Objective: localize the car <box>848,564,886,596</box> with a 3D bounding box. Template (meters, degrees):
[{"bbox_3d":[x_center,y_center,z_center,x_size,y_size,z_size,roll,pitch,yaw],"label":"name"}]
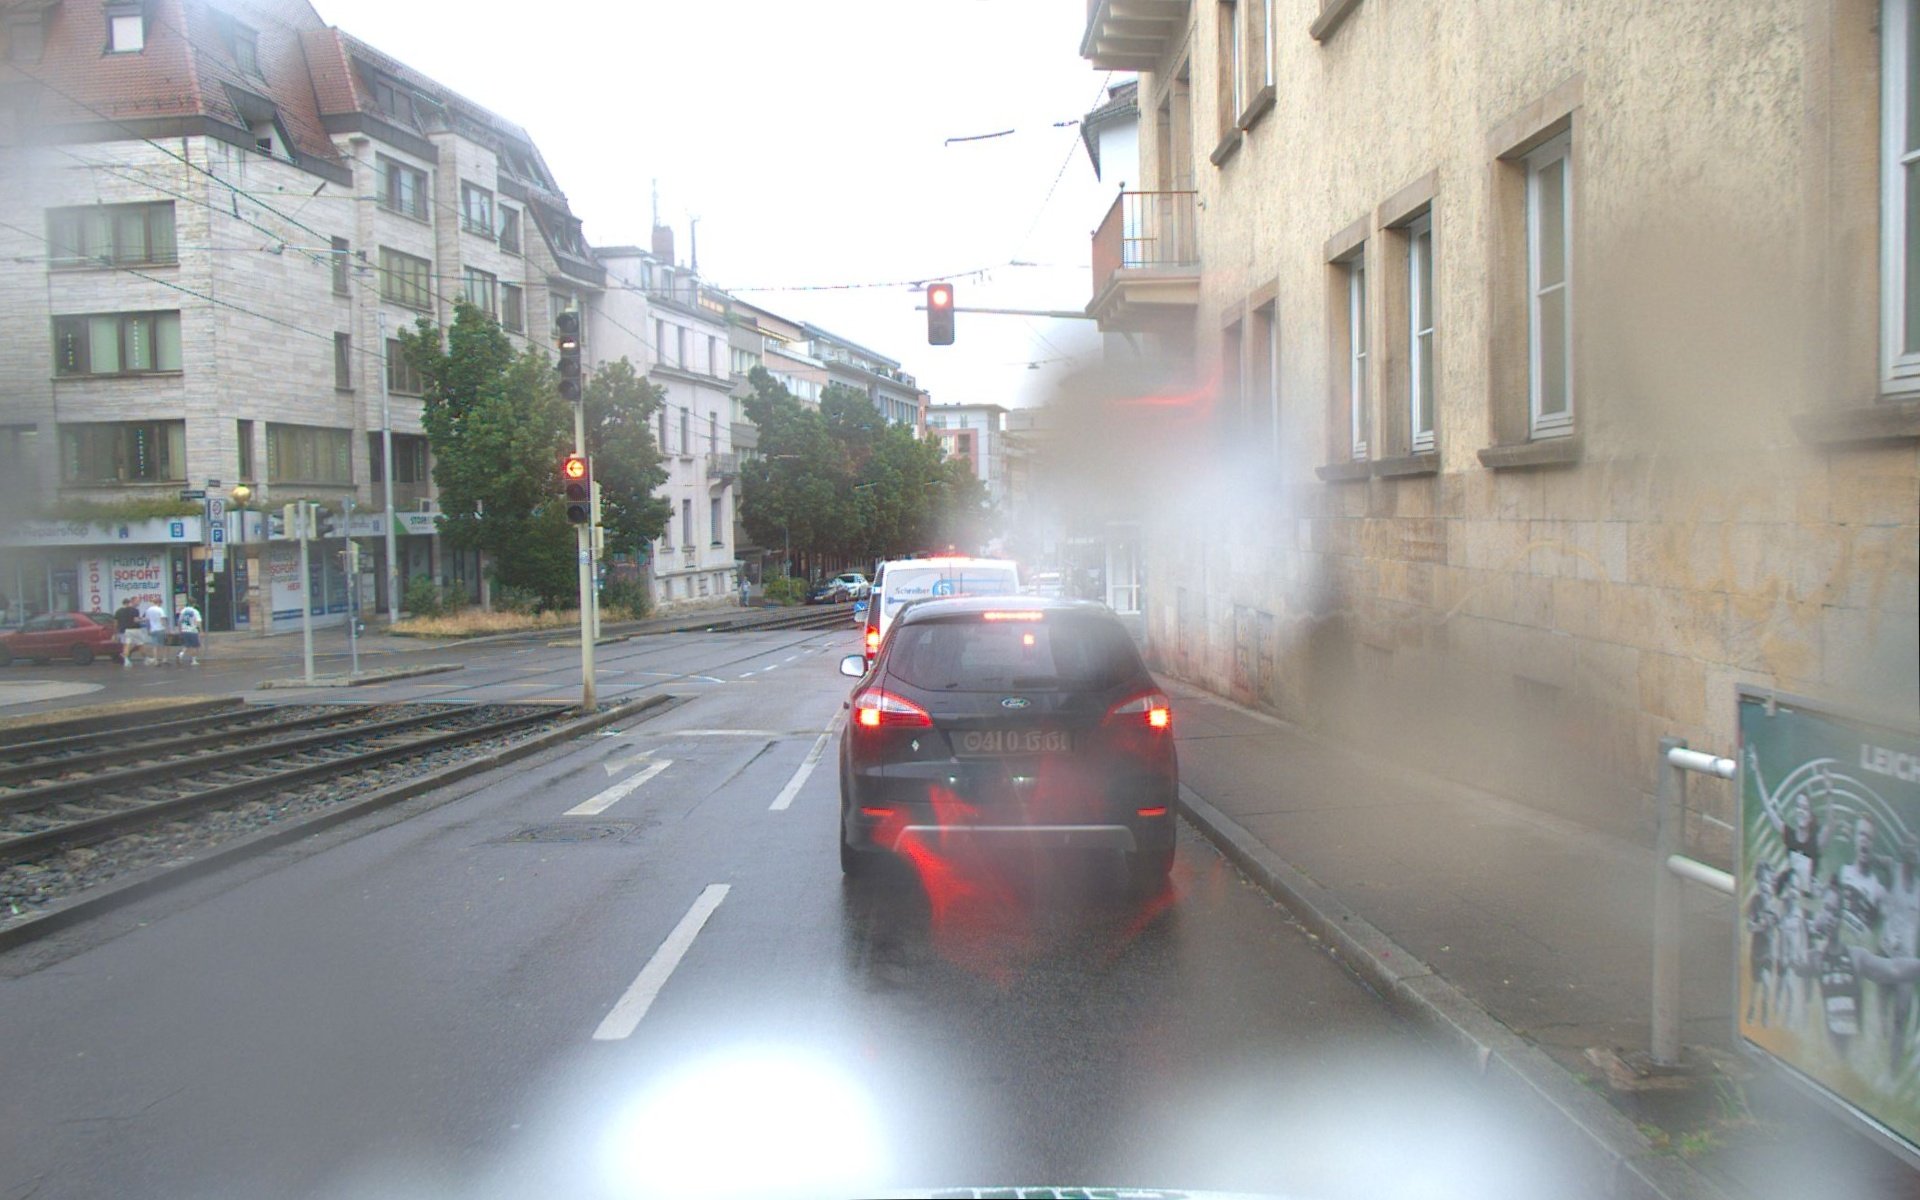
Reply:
[{"bbox_3d":[-6.096,-1.322,108.613,1.952,2.049,4.002,-2,1,4],"label":"car"}]

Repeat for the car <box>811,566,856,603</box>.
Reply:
[{"bbox_3d":[-7.306,-0.928,95.972,1.952,2.049,4.002,-2,1,4],"label":"car"}]

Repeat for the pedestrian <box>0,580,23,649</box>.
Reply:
[{"bbox_3d":[-28.650,0.436,49.467,0.778,2.049,0.704,-1,0,7],"label":"pedestrian"}]

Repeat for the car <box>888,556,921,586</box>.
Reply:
[{"bbox_3d":[-4.022,-2.102,119.989,1.952,2.049,4.002,-2,1,4],"label":"car"}]

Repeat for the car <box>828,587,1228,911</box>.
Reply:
[{"bbox_3d":[0.225,0.688,9.742,1.882,1.505,3.998,0,0,-3],"label":"car"}]

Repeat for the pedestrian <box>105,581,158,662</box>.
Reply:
[{"bbox_3d":[-21.441,0.540,42.817,0.923,2.049,0.764,-2,0,-5],"label":"pedestrian"}]

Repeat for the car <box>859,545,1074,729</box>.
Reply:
[{"bbox_3d":[-0.056,0.344,18.915,2.095,1.775,4.215,-3,1,-4],"label":"car"}]

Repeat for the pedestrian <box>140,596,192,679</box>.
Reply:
[{"bbox_3d":[-20.287,0.951,42.258,0.923,2.049,0.764,-2,0,-5],"label":"pedestrian"}]

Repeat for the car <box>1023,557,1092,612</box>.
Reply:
[{"bbox_3d":[3.491,-0.556,58.460,1.951,1.803,4.004,-2,1,10],"label":"car"}]

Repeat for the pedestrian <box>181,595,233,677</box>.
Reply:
[{"bbox_3d":[-19.298,0.915,42.380,0.922,2.049,0.765,-2,0,-1],"label":"pedestrian"}]

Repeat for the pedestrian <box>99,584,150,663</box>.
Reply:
[{"bbox_3d":[-22.096,0.604,43.753,0.923,2.049,0.764,-2,0,-5],"label":"pedestrian"}]

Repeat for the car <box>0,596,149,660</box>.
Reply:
[{"bbox_3d":[-24.559,0.755,45.066,4.045,1.596,1.825,-2,0,8],"label":"car"}]

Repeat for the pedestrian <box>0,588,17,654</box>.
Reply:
[{"bbox_3d":[-29.527,0.667,50.463,0.886,1.965,0.825,-3,2,0],"label":"pedestrian"}]

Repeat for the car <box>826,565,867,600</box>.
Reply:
[{"bbox_3d":[-6.970,-1.063,102.117,1.952,2.049,4.002,-2,1,4],"label":"car"}]

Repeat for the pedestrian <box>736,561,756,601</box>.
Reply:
[{"bbox_3d":[-11.108,-0.966,85.845,0.924,2.049,0.763,-2,0,-10],"label":"pedestrian"}]
